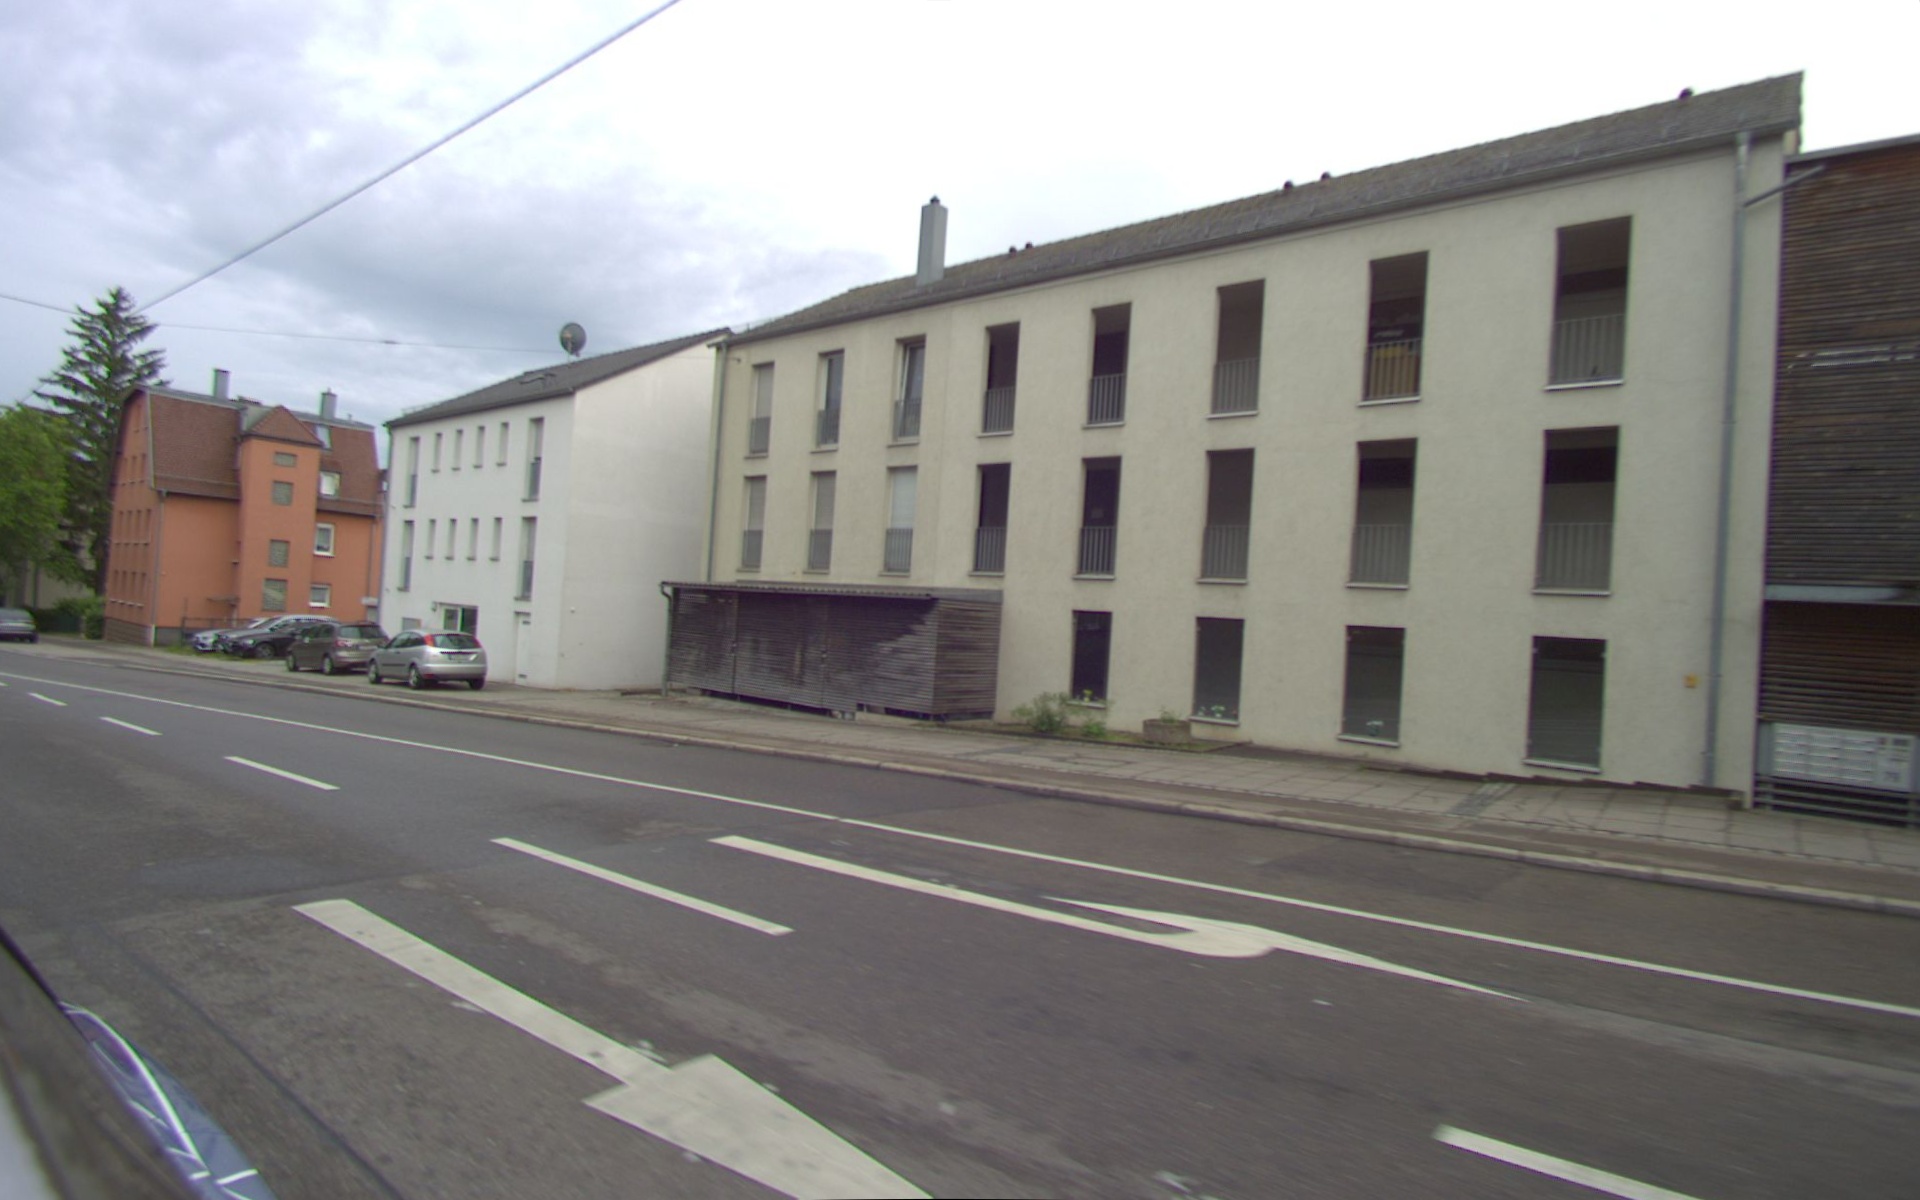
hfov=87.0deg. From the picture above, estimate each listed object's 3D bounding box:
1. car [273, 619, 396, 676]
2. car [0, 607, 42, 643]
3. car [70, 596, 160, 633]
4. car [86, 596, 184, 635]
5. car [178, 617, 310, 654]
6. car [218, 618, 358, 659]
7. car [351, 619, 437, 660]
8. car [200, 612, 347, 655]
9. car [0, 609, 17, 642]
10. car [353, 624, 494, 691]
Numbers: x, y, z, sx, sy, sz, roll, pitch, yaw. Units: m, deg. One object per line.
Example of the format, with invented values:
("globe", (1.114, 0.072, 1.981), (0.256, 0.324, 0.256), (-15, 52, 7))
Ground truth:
("car", (-18.996, 1.402, 30.697), (4.076, 1.564, 1.729), (0, -2, 36))
("car", (-41.056, 1.025, 43.312), (4.192, 1.421, 1.768), (0, -6, 38))
("car", (-49.863, 0.880, 59.742), (3.939, 2.029, 2.002), (4, -3, -43))
("car", (-46.796, 0.888, 57.466), (1.998, 2.029, 3.948), (0, -2, 39))
("car", (-29.684, 1.484, 42.043), (2.000, 1.444, 4.117), (0, -2, 42))
("car", (-25.598, 1.480, 38.629), (1.895, 1.475, 4.082), (0, -2, 41))
("car", (-23.783, 1.641, 42.468), (3.997, 1.574, 1.763), (0, -5, 40))
("car", (-27.540, 1.352, 40.710), (2.152, 1.620, 4.483), (0, -2, 42))
("car", (-44.831, 1.115, 46.297), (4.193, 1.463, 1.794), (0, -4, 38))
("car", (-13.854, 1.461, 26.039), (4.175, 1.519, 1.727), (0, -4, 40))
